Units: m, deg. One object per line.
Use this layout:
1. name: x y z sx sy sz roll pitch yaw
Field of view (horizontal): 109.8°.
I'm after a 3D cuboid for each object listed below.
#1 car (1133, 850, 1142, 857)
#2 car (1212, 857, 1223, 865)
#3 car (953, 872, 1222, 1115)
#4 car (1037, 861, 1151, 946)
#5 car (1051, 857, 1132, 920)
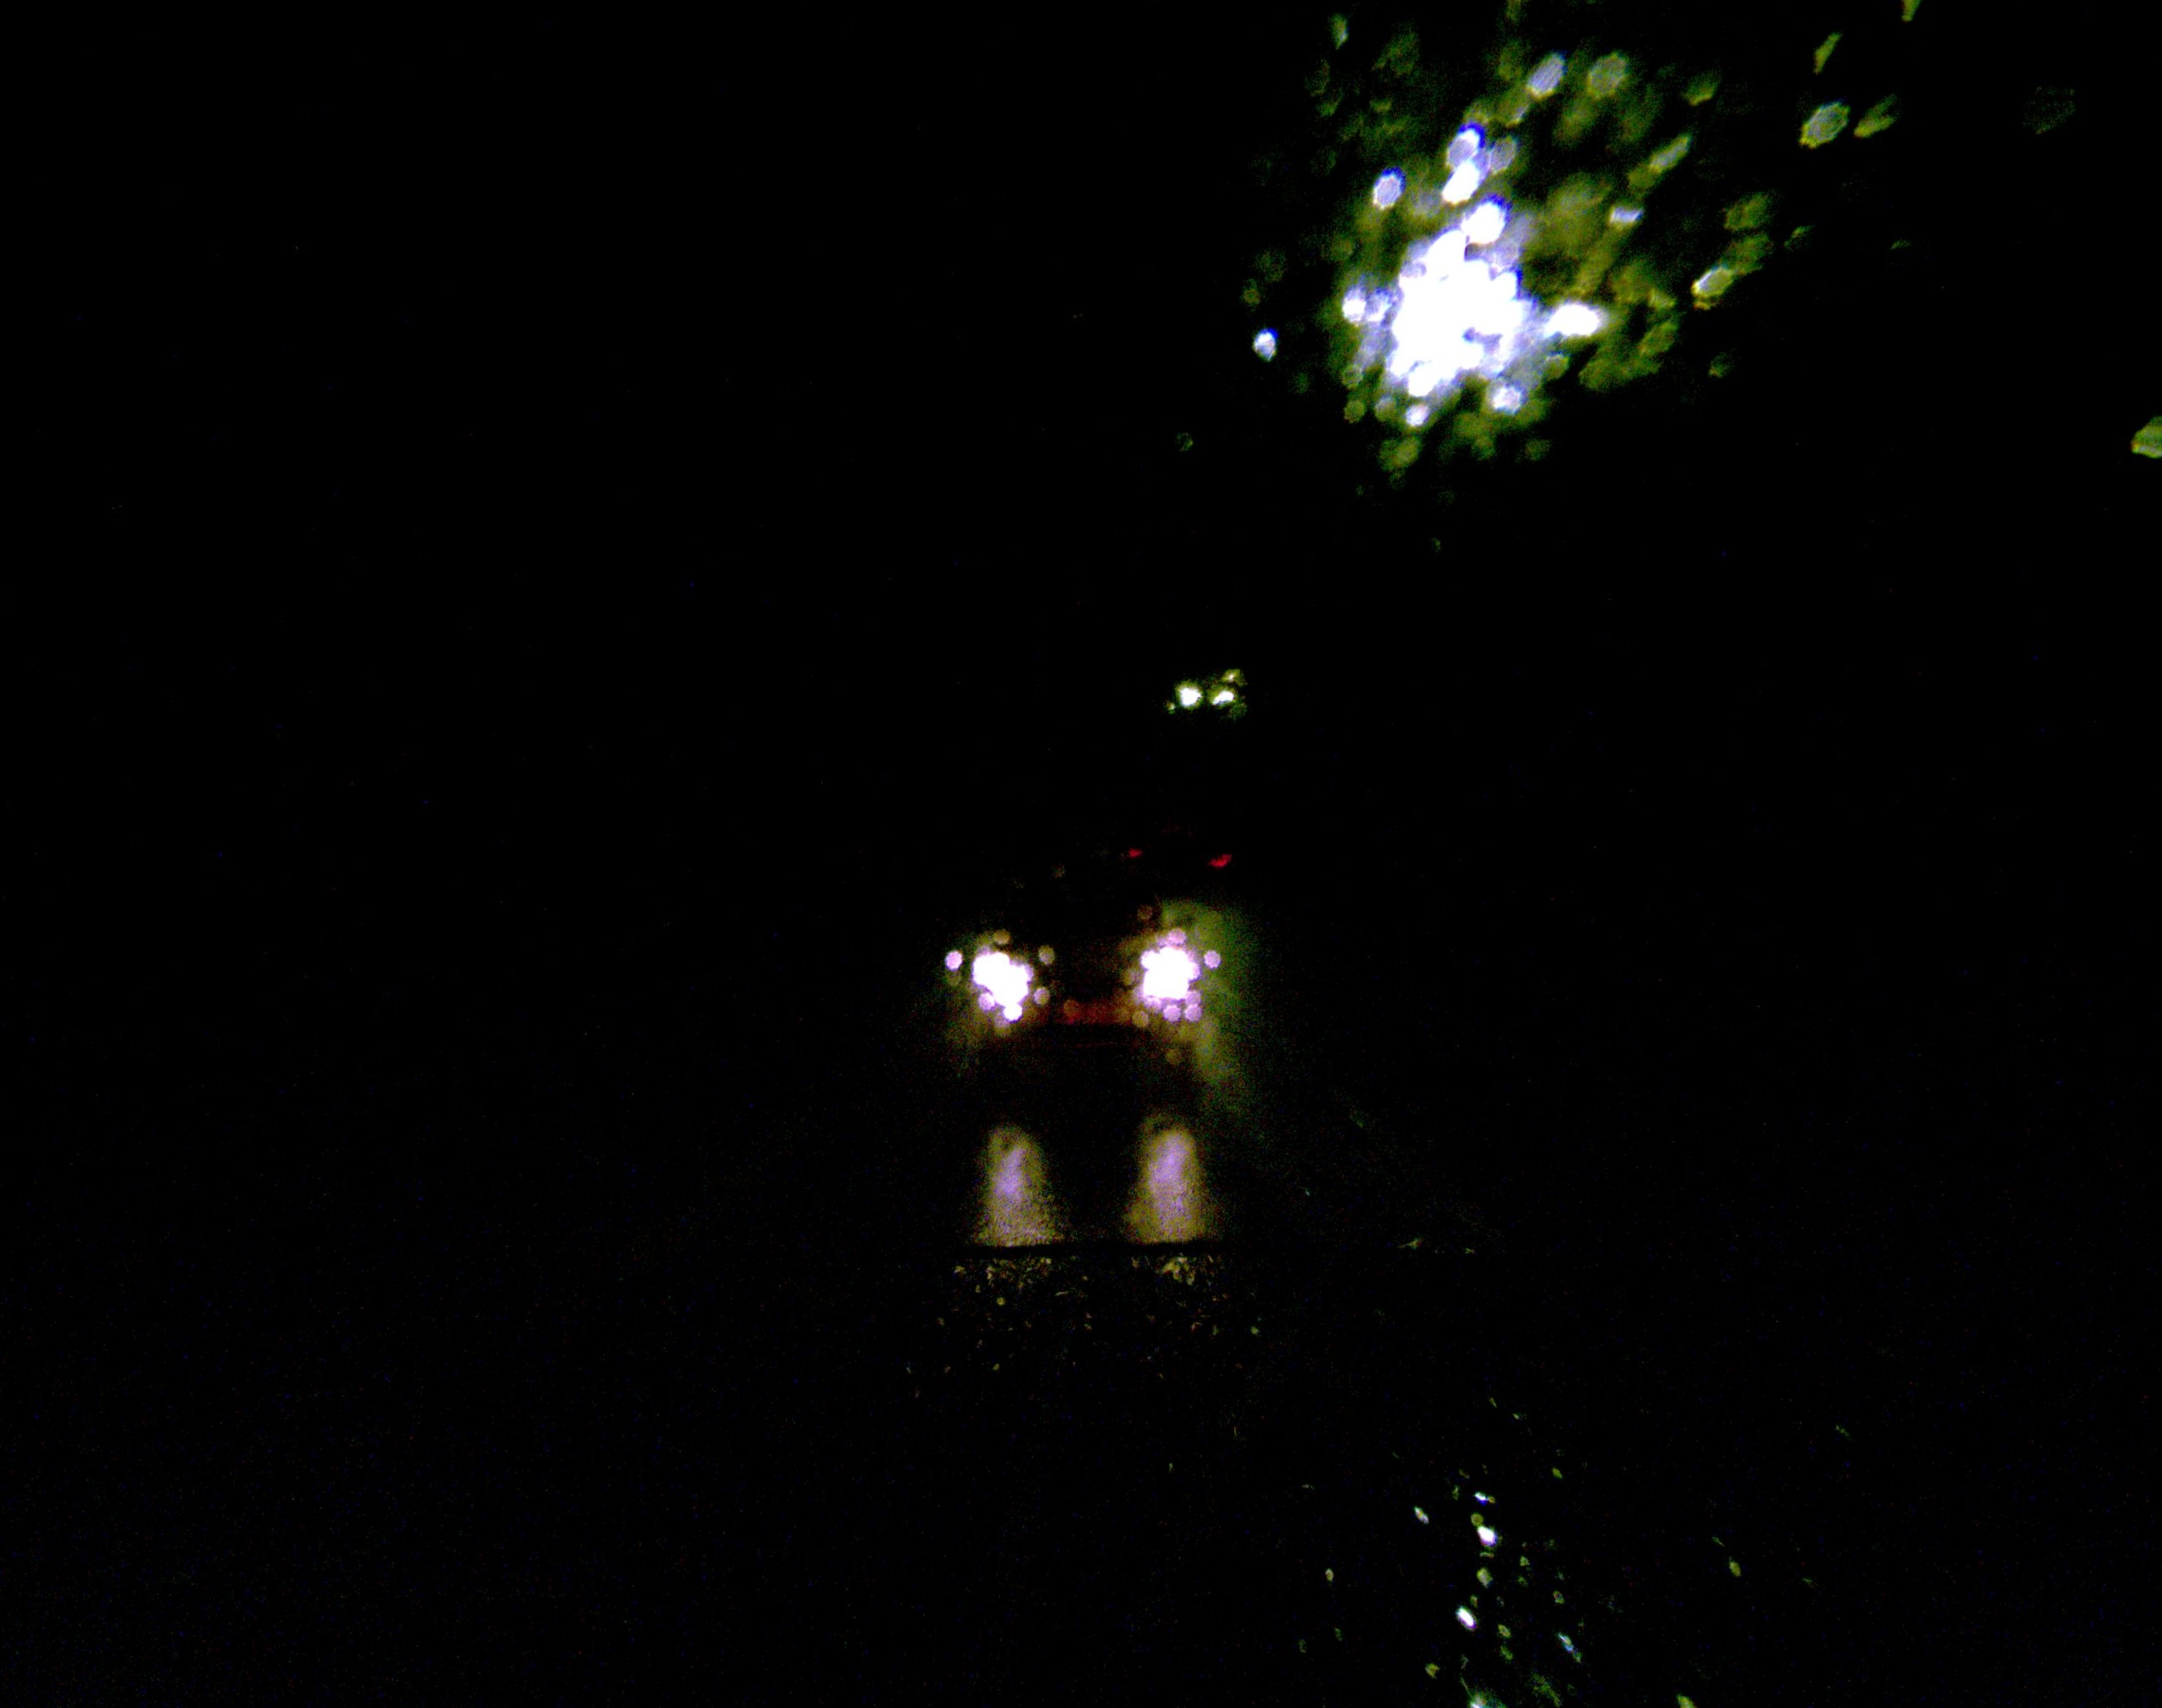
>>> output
1. car: 13.011 -0.133 175.122 1.788 1.637 4.000 -2 0 0
2. car: 28.486 1.415 158.429 1.866 1.637 4.001 -2 0 3
3. car: 0.074 0.987 7.110 1.764 1.492 4.000 -2 0 1
4. car: 0.270 0.906 15.513 1.998 1.455 4.000 -1 0 1
5. car: 0.289 0.875 20.996 1.998 1.531 4.000 -1 0 1
